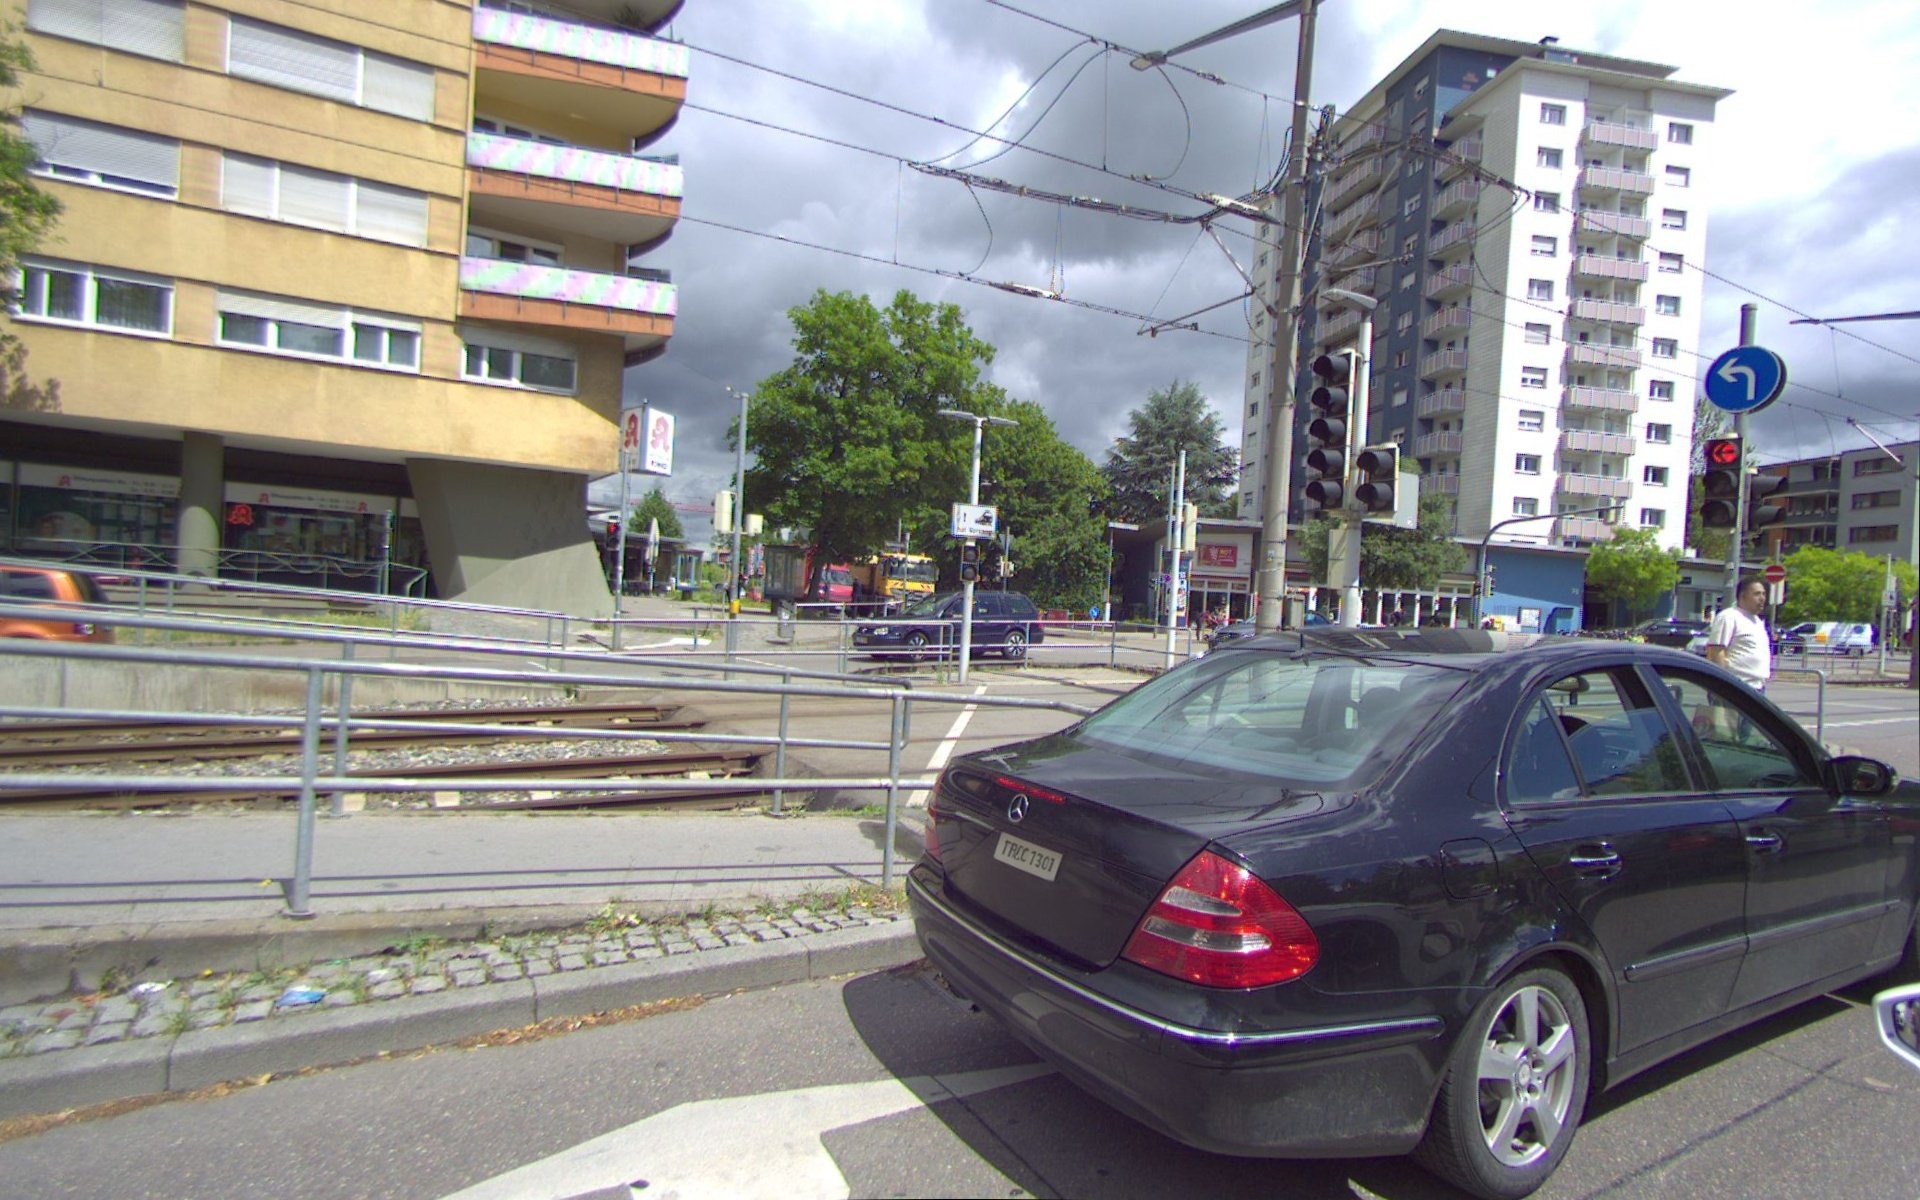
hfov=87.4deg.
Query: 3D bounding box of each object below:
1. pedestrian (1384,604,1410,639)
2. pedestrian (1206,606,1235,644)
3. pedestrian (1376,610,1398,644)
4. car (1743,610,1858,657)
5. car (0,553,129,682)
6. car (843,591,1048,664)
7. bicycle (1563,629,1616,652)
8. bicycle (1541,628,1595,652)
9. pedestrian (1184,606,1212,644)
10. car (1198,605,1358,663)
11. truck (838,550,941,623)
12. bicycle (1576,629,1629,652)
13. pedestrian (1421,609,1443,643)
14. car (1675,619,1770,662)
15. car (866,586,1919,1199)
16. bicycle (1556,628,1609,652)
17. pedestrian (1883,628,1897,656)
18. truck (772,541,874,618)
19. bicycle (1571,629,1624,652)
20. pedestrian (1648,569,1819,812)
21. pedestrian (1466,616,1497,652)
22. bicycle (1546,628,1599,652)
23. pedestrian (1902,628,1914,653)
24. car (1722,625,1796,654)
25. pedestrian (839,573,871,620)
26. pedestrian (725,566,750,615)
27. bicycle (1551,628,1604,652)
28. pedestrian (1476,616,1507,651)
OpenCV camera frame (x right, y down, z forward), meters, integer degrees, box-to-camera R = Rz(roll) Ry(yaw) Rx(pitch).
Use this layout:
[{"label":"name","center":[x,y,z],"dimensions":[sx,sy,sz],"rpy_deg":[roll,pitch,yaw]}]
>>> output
[{"label":"pedestrian","center":[24.793,1.211,56.982],"dimensions":[1.203,1.942,0.859],"rpy_deg":[1,1,-36]},{"label":"pedestrian","center":[11.870,1.154,45.755],"dimensions":[0.977,1.681,0.969],"rpy_deg":[2,-1,-4]},{"label":"pedestrian","center":[20.926,1.324,49.255],"dimensions":[0.759,1.637,0.694],"rpy_deg":[2,1,44]},{"label":"car","center":[49.800,1.894,59.767],"dimensions":[2.776,2.512,6.724],"rpy_deg":[2,0,17]},{"label":"car","center":[-13.935,0.209,13.150],"dimensions":[4.410,1.656,1.983],"rpy_deg":[1,-1,-31]},{"label":"car","center":[-0.260,0.554,21.524],"dimensions":[4.209,1.433,1.619],"rpy_deg":[1,0,-34]},{"label":"bicycle","center":[27.857,1.780,44.488],"dimensions":[0.490,0.947,1.934],"rpy_deg":[2,0,-35]},{"label":"bicycle","center":[26.225,1.724,43.373],"dimensions":[0.490,0.947,1.934],"rpy_deg":[2,0,-35]},{"label":"pedestrian","center":[10.790,1.120,45.563],"dimensions":[0.977,1.681,0.969],"rpy_deg":[2,-1,-4]},{"label":"car","center":[8.619,0.933,27.056],"dimensions":[4.446,1.418,1.625],"rpy_deg":[2,0,-33]},{"label":"truck","center":[-3.594,-0.623,49.210],"dimensions":[2.733,3.244,7.443],"rpy_deg":[1,0,-23]},{"label":"bicycle","center":[28.794,1.812,45.032],"dimensions":[0.490,0.947,1.934],"rpy_deg":[2,0,-35]},{"label":"pedestrian","center":[23.338,1.284,49.668],"dimensions":[0.693,1.637,0.760],"rpy_deg":[1,1,-43]},{"label":"car","center":[32.878,1.727,43.310],"dimensions":[3.827,1.715,1.928],"rpy_deg":[2,0,-30]},{"label":"car","center":[2.055,0.761,3.813],"dimensions":[4.490,1.481,1.720],"rpy_deg":[2,0,-30]},{"label":"bicycle","center":[27.394,1.764,44.211],"dimensions":[0.490,0.947,1.934],"rpy_deg":[2,0,-35]},{"label":"pedestrian","center":[59.834,2.682,64.650],"dimensions":[0.663,1.739,0.542],"rpy_deg":[1,1,-40]},{"label":"truck","center":[-6.825,-0.931,48.783],"dimensions":[2.692,3.320,8.877],"rpy_deg":[1,0,-22]},{"label":"bicycle","center":[28.393,1.798,44.754],"dimensions":[0.490,0.947,1.934],"rpy_deg":[2,0,-35]},{"label":"pedestrian","center":[6.232,0.679,8.113],"dimensions":[0.734,1.832,0.863],"rpy_deg":[1,1,-33]},{"label":"pedestrian","center":[24.941,1.622,48.056],"dimensions":[1.089,1.681,0.937],"rpy_deg":[2,-1,-38]},{"label":"bicycle","center":[26.596,1.737,43.650],"dimensions":[0.490,0.947,1.934],"rpy_deg":[2,0,-35]},{"label":"pedestrian","center":[67.015,2.851,71.006],"dimensions":[0.401,1.739,0.542],"rpy_deg":[1,1,-39]},{"label":"car","center":[45.451,2.240,57.247],"dimensions":[1.754,1.439,4.219],"rpy_deg":[2,0,16]},{"label":"pedestrian","center":[-3.930,-0.124,37.638],"dimensions":[0.750,1.636,0.780],"rpy_deg":[7,1,15]},{"label":"pedestrian","center":[-7.696,-0.348,34.675],"dimensions":[0.753,1.638,0.776],"rpy_deg":[0,4,-19]},{"label":"bicycle","center":[27.007,1.751,43.939],"dimensions":[0.490,0.947,1.934],"rpy_deg":[2,0,-35]},{"label":"pedestrian","center":[25.869,1.625,48.859],"dimensions":[1.089,1.681,0.937],"rpy_deg":[2,-1,-38]}]
